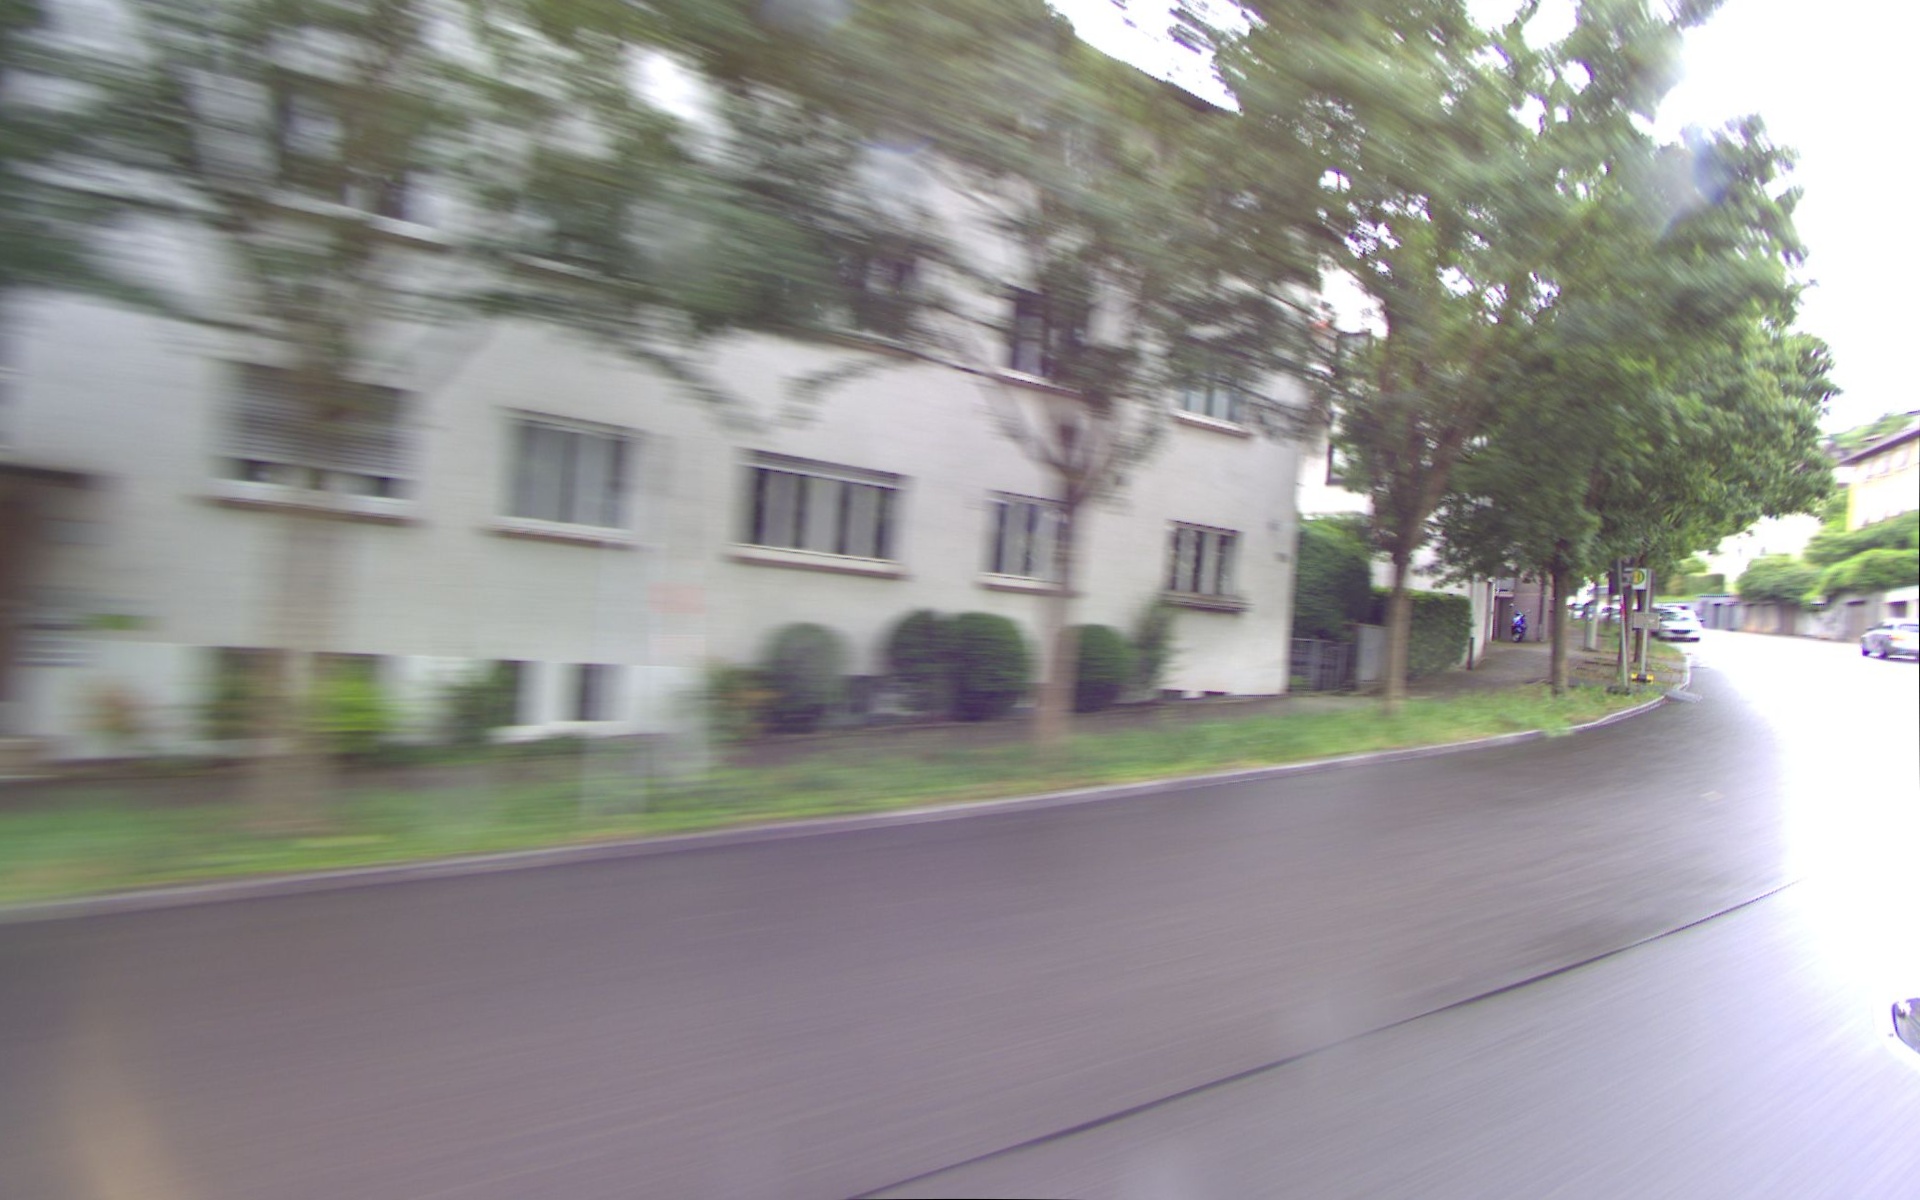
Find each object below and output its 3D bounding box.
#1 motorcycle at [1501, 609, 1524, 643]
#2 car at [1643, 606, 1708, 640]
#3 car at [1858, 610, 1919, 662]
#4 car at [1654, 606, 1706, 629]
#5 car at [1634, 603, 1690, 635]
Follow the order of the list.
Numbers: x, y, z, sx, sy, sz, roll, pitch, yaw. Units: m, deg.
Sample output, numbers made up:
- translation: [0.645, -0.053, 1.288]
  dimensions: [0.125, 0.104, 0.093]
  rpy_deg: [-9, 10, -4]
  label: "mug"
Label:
- translation: [20.805, 0.952, 37.811]
  dimensions: [0.605, 1.175, 1.694]
  rpy_deg: [4, 3, 32]
  label: "motorcycle"
- translation: [35.876, 1.106, 50.466]
  dimensions: [1.963, 1.550, 3.995]
  rpy_deg: [2, 1, 26]
  label: "car"
- translation: [34.026, 1.275, 36.276]
  dimensions: [1.925, 1.583, 4.246]
  rpy_deg: [4, 4, 37]
  label: "car"
- translation: [56.546, 1.352, 78.968]
  dimensions: [1.959, 1.706, 4.002]
  rpy_deg: [2, 1, 14]
  label: "car"
- translation: [38.222, 1.027, 54.748]
  dimensions: [1.849, 1.617, 3.995]
  rpy_deg: [2, 1, 26]
  label: "car"
